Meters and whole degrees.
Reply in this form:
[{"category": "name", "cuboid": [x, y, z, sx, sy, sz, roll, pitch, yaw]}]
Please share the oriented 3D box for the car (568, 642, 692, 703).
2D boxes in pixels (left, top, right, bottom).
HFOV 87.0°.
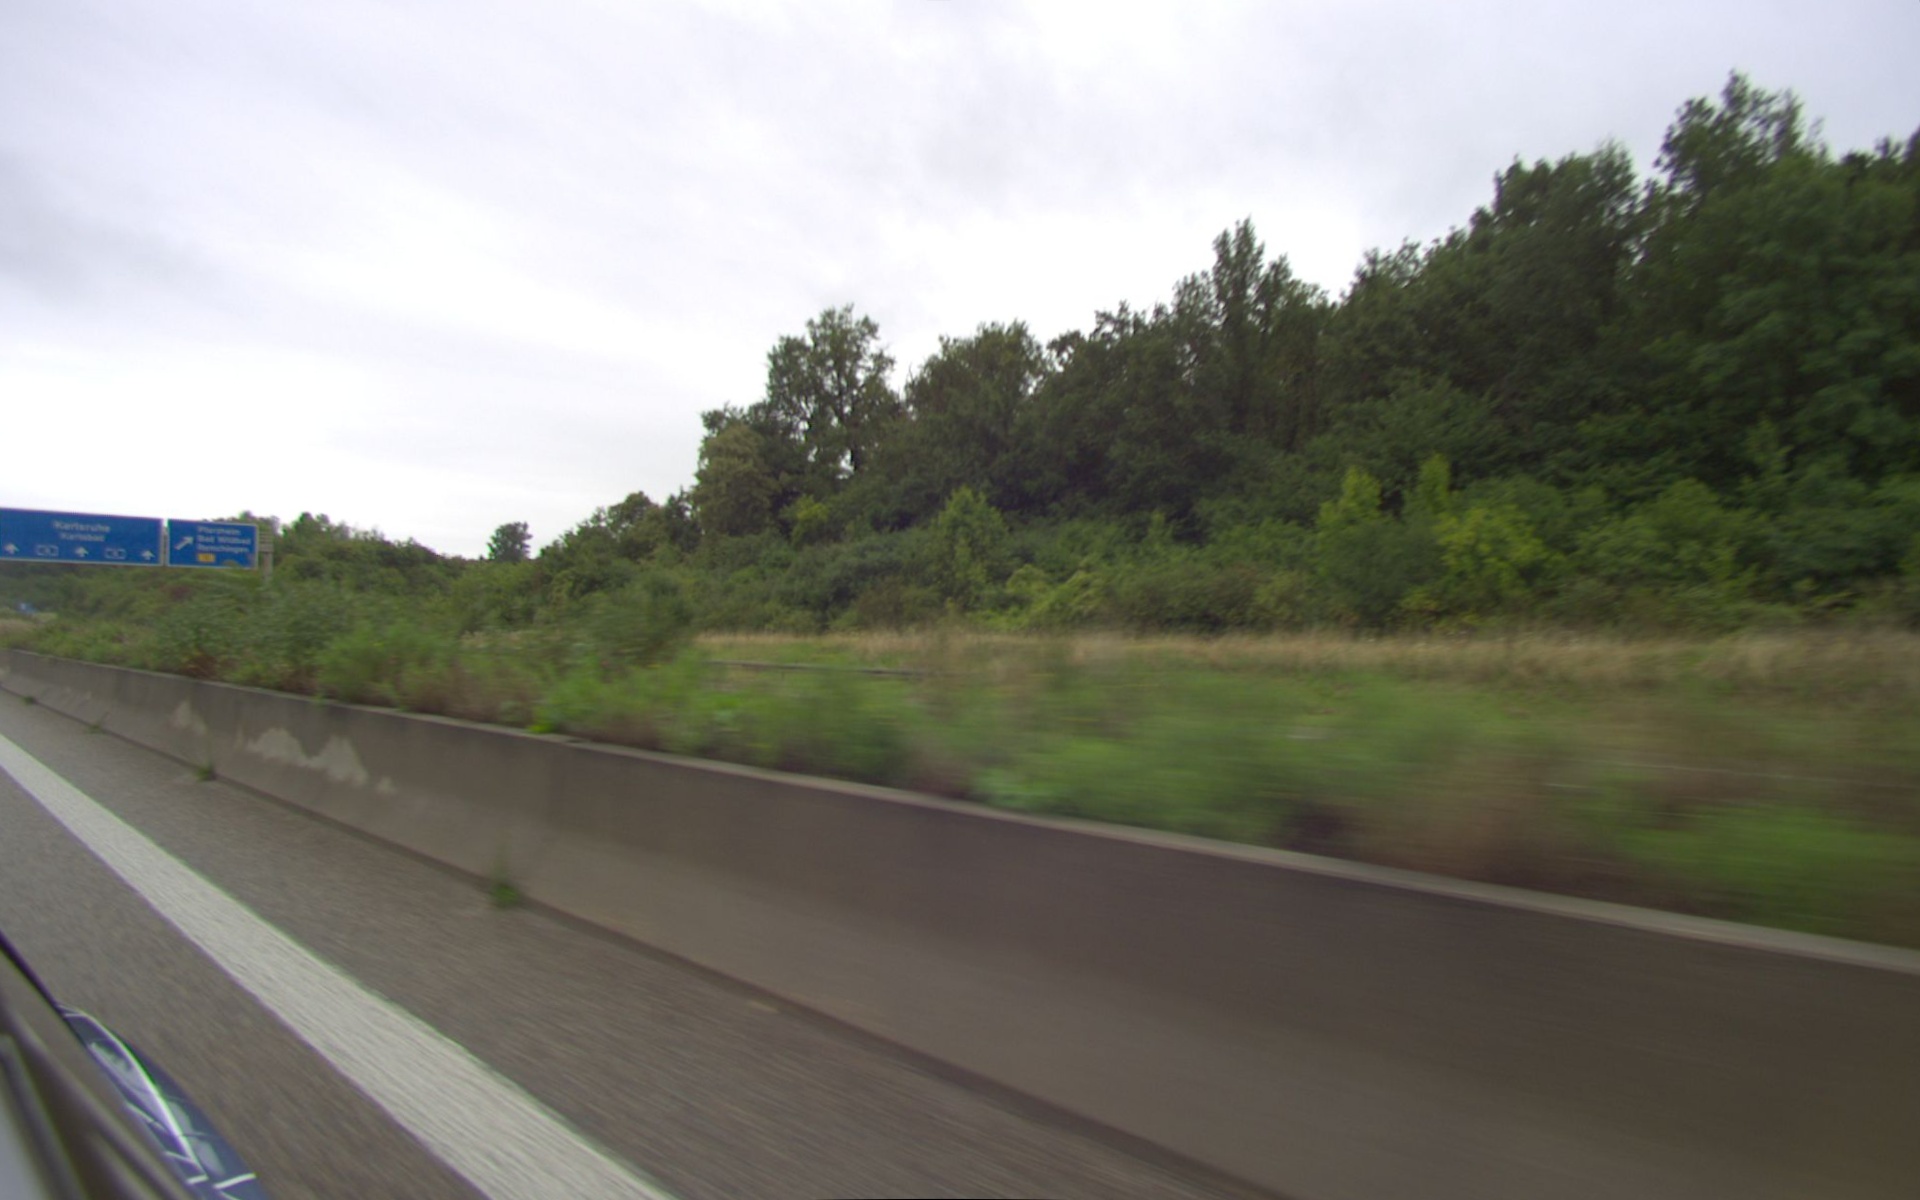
[{"category": "car", "cuboid": [-8.994, 1.913, 27.492, 3.474, 1.497, 1.642, -1, -3, 41]}]
